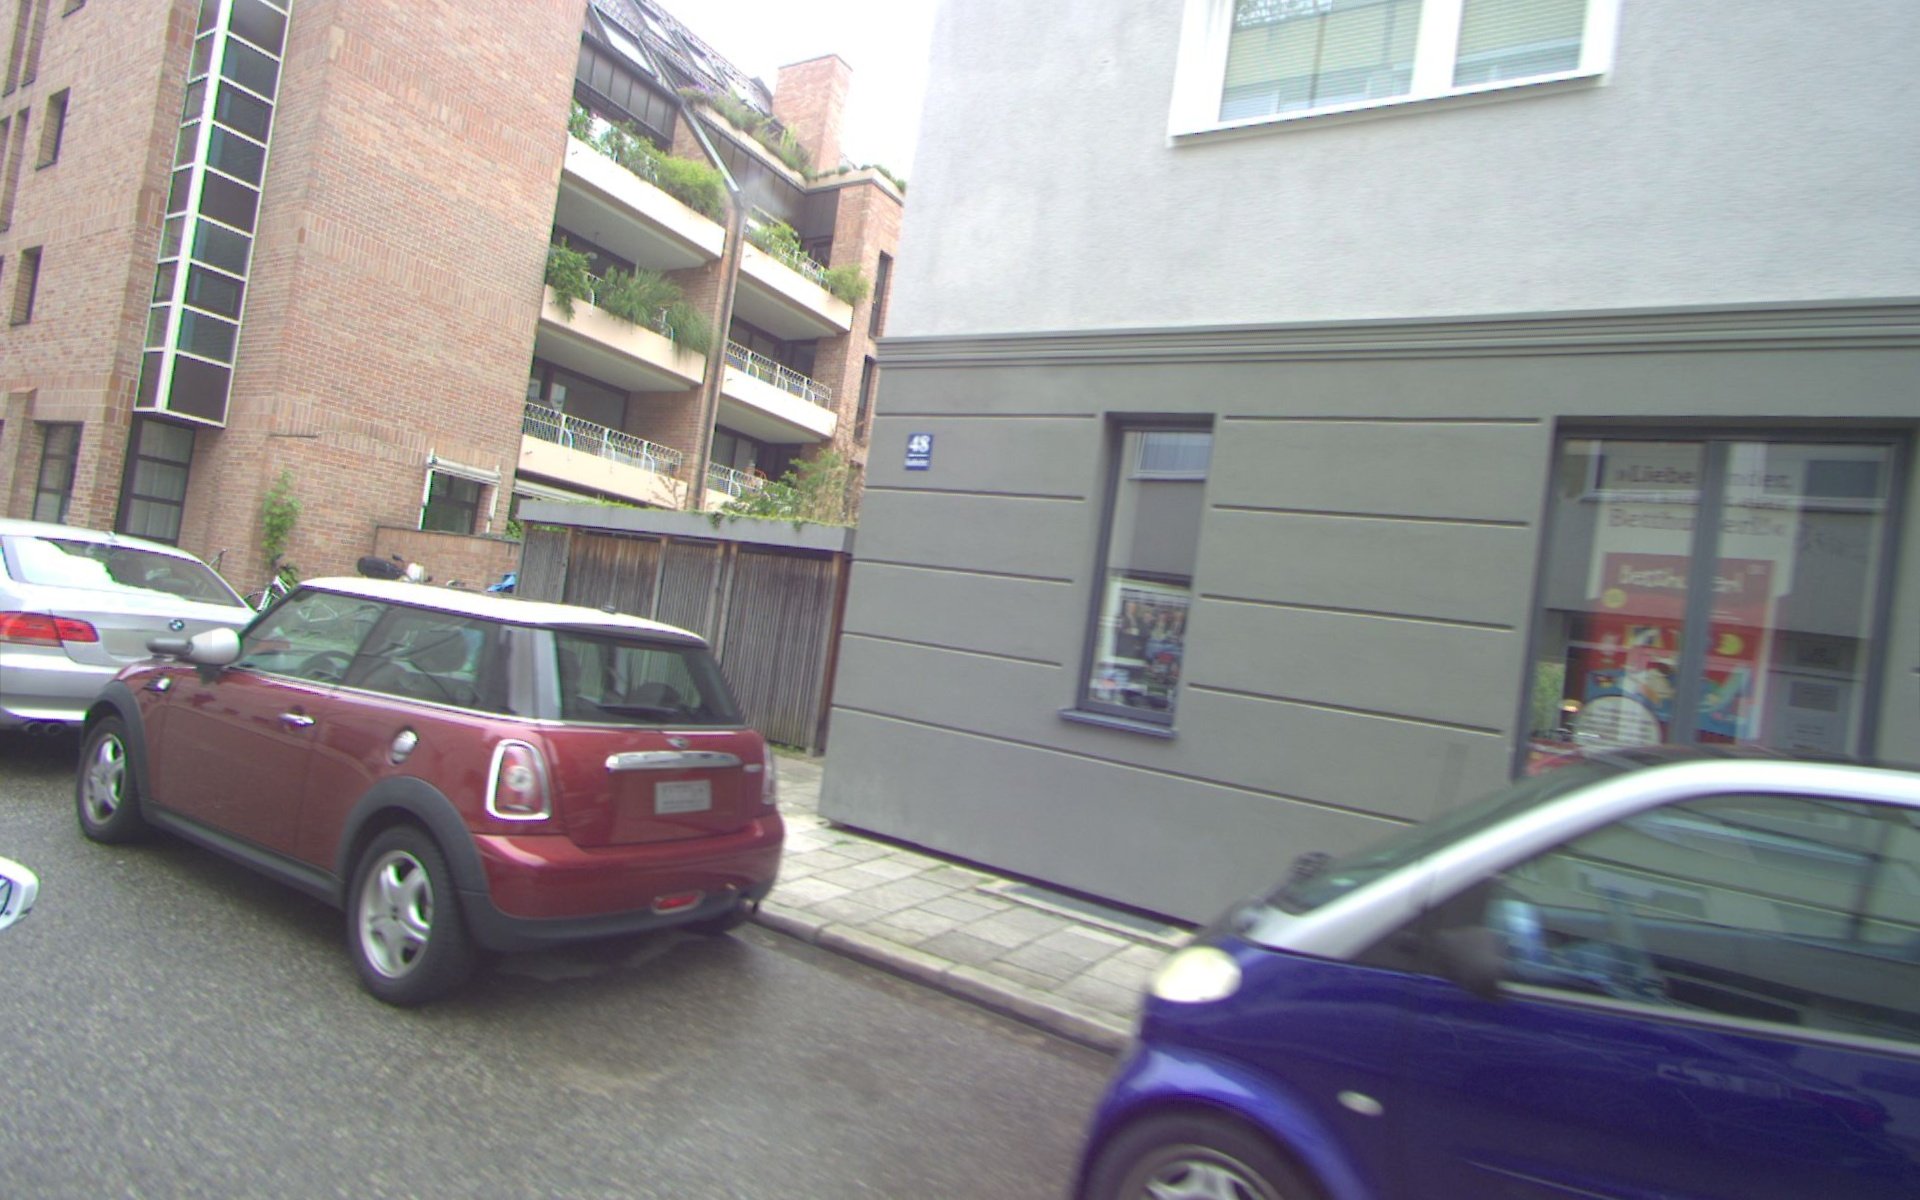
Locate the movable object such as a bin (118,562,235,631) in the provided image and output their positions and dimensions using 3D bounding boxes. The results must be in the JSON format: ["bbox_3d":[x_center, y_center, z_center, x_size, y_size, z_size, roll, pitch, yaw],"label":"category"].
[{"bbox_3d":[-11.688,-0.042,15.029,0.830,0.841,1.089,7,-2,33],"label":"movable object such as a bin"}]

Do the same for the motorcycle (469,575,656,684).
[{"bbox_3d":[-5.747,0.478,14.749,0.542,1.359,2.516,6,-2,36],"label":"motorcycle"}]

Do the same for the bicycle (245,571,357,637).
[{"bbox_3d":[-10.164,0.075,15.548,0.407,0.869,1.318,6,-2,32],"label":"bicycle"}]

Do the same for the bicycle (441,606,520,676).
[{"bbox_3d":[-7.034,0.591,14.732,1.300,0.869,0.375,6,-1,35],"label":"bicycle"}]

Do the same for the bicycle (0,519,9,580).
[{"bbox_3d":[-16.710,-0.894,16.945,1.447,1.091,0.560,7,-2,32],"label":"bicycle"}]

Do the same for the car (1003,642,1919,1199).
[{"bbox_3d":[1.892,1.108,2.216,3.148,1.528,1.525,7,-3,31],"label":"car"}]

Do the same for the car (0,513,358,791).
[{"bbox_3d":[-6.552,0.157,7.148,4.523,1.433,1.841,7,-3,31],"label":"car"}]

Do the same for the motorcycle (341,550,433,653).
[{"bbox_3d":[-8.668,-0.003,15.190,1.914,1.360,0.539,6,-1,43],"label":"motorcycle"}]

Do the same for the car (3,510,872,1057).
[{"bbox_3d":[-2.677,0.577,4.934,4.080,1.478,1.750,7,-3,31],"label":"car"}]
